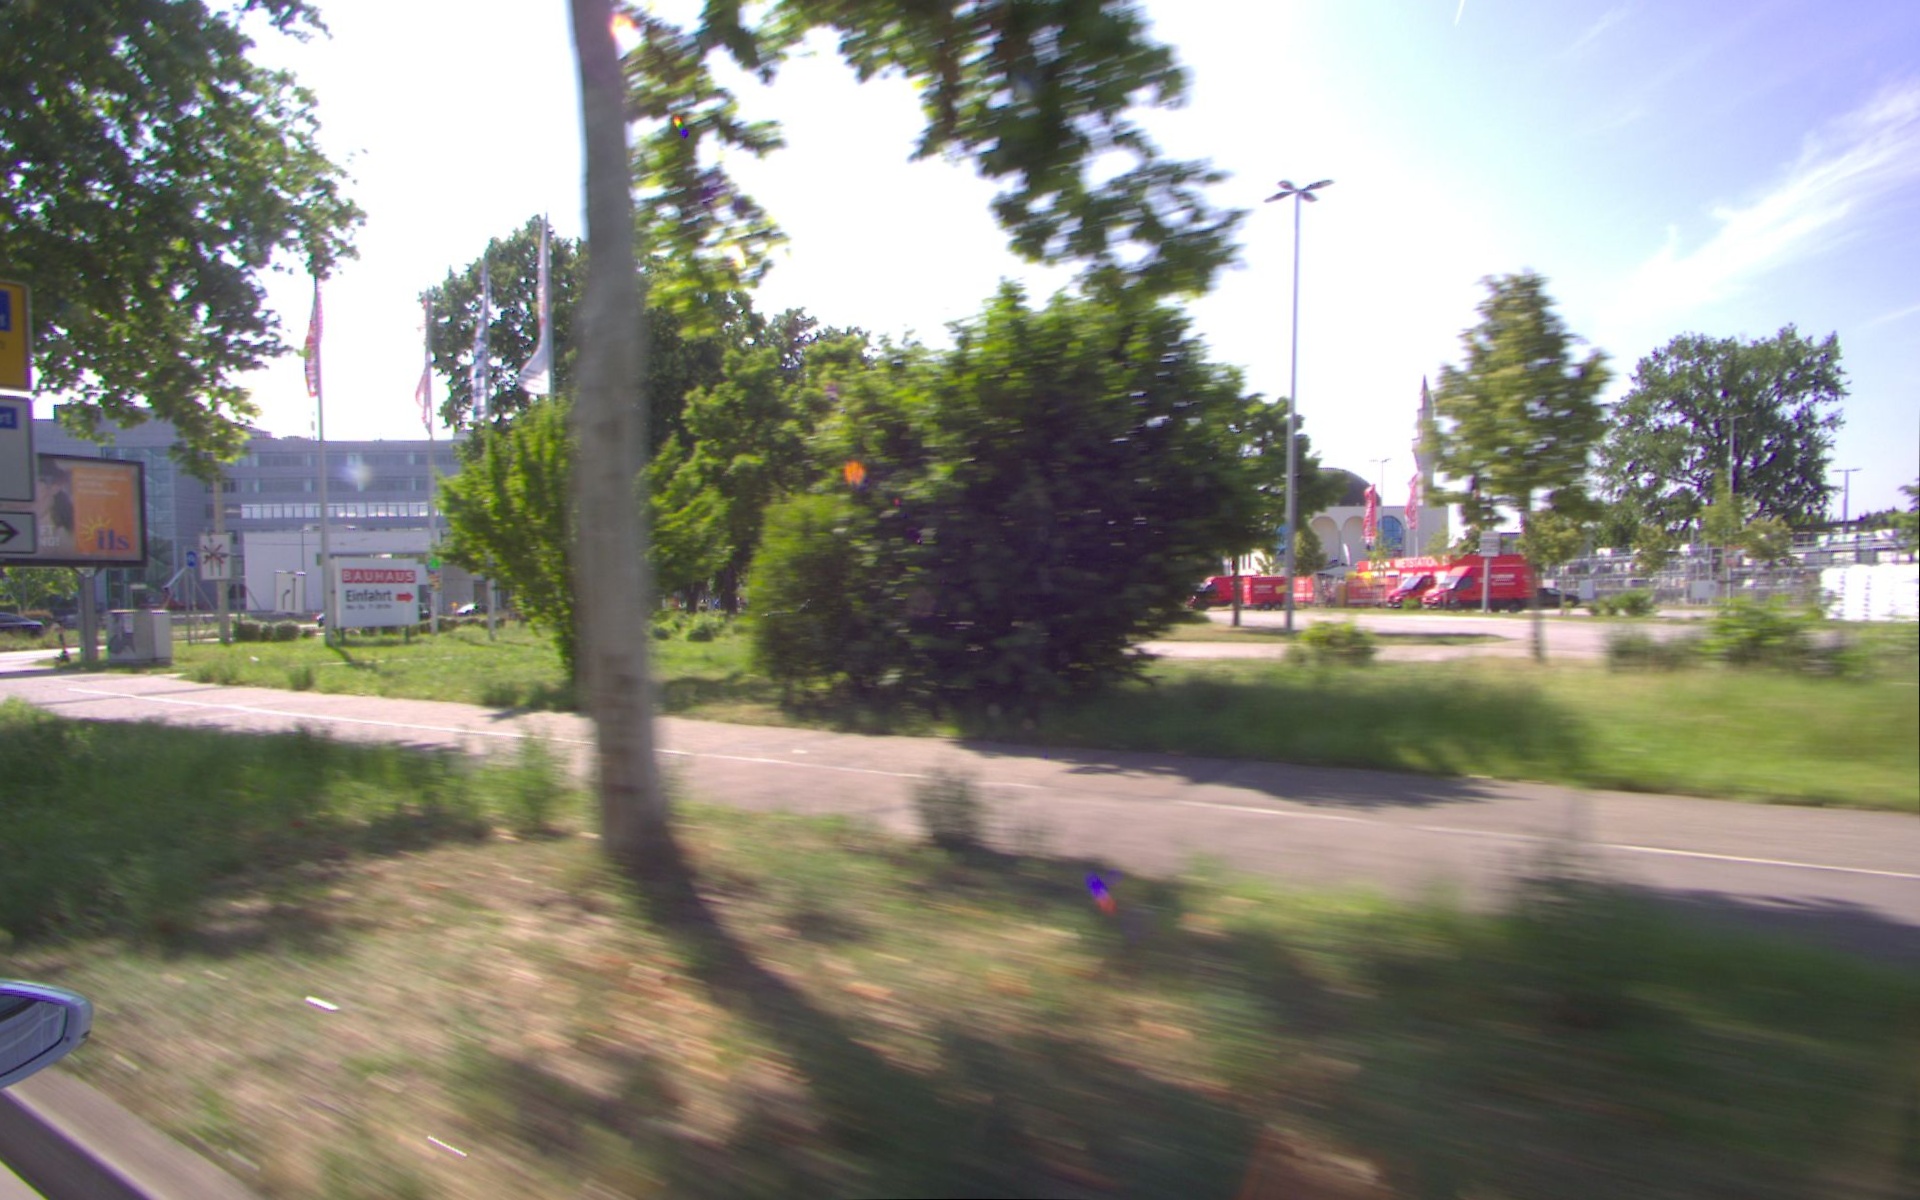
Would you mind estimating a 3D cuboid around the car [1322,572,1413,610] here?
[{"bbox_3d":[27.907,-0.615,68.727,5.418,2.467,1.999,-1,1,-2],"label":"car"}]

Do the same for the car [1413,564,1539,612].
[{"bbox_3d":[28.569,-0.670,55.522,6.059,2.599,1.999,0,1,-4],"label":"car"}]

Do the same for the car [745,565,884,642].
[{"bbox_3d":[-4.102,0.084,28.144,3.725,2.040,1.998,0,0,-11],"label":"car"}]

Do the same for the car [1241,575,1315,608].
[{"bbox_3d":[22.685,-0.608,71.609,4.713,2.279,1.999,-1,1,4],"label":"car"}]

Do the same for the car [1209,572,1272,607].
[{"bbox_3d":[21.650,-0.831,77.379,4.317,2.633,1.999,-1,1,-5],"label":"car"}]

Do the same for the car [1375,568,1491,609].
[{"bbox_3d":[28.002,-0.671,59.351,6.090,2.338,1.882,-1,1,-6],"label":"car"}]

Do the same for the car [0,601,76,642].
[{"bbox_3d":[-42.230,0.958,44.745,1.576,1.779,3.793,0,-2,23],"label":"car"}]
